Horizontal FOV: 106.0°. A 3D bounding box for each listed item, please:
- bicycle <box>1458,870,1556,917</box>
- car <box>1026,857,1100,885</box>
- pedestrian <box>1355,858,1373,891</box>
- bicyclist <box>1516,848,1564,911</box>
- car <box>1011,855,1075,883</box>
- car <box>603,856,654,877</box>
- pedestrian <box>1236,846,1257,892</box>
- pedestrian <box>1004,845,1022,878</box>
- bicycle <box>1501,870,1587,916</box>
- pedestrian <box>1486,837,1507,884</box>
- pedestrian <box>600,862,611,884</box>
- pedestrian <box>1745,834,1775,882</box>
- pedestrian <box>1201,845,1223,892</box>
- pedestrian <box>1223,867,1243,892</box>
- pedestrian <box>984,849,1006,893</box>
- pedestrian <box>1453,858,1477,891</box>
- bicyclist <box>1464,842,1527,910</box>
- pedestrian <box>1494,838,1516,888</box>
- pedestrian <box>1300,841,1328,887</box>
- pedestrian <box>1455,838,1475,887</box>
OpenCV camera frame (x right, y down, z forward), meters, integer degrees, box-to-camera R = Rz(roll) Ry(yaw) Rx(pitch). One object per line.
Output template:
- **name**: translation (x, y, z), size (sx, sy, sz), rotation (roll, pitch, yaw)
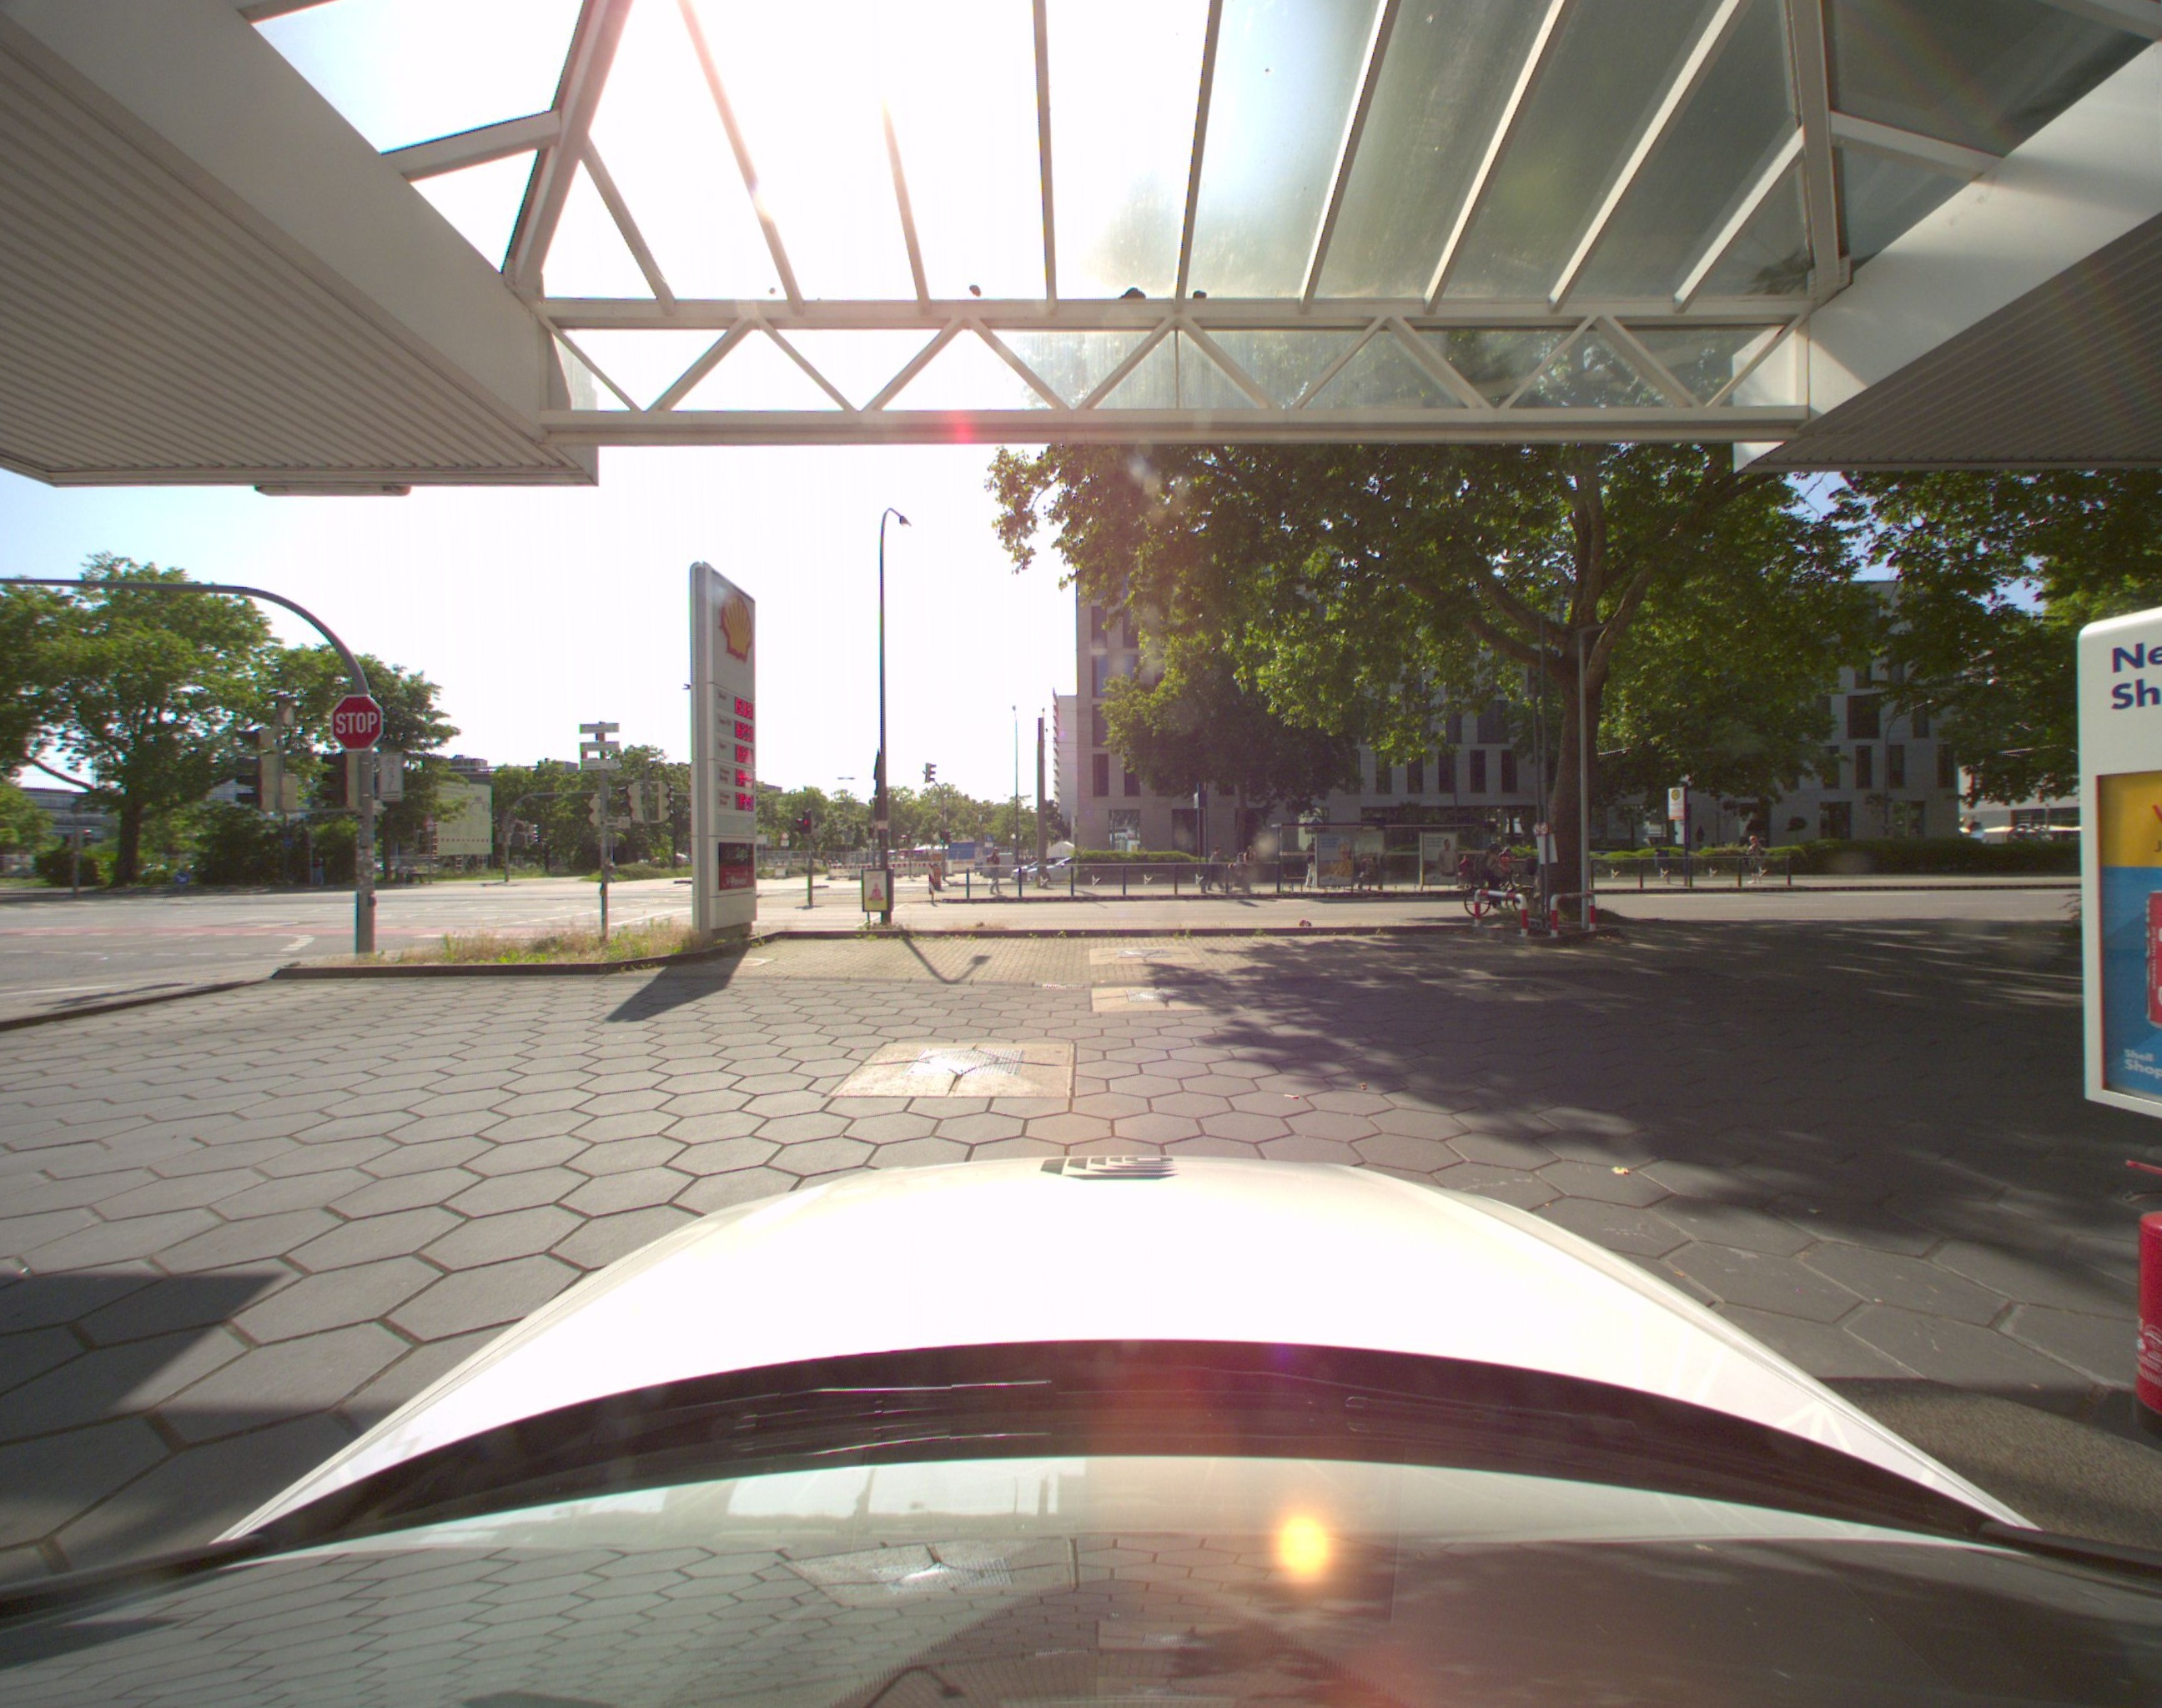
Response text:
- **bicycle**: translation (10.185, 0.930, 19.514), size (2.013, 1.082, 0.639), rotation (-1, 0, -1)
- **car**: translation (-0.886, 0.852, 41.600), size (3.669, 1.312, 1.592), rotation (-1, 0, 1)
- **pedestrian**: translation (9.947, 0.708, 28.646), size (0.496, 1.138, 0.525), rotation (-1, 0, 6)
- **bicyclist**: translation (11.439, 0.621, 20.307), size (0.860, 1.544, 0.534), rotation (0, -1, -2)
- **car**: translation (-2.283, 0.870, 48.200), size (3.676, 1.552, 1.589), rotation (-1, 0, -6)
- **car**: translation (-45.627, 1.251, 82.179), size (3.969, 1.816, 2.002), rotation (-3, 0, 4)
- **pedestrian**: translation (5.762, 0.511, 28.424), size (0.582, 1.591, 0.670), rotation (-1, 1, 0)
- **pedestrian**: translation (-4.717, 0.535, 56.823), size (1.105, 2.248, 1.103), rotation (-1, 0, 0)
- **bicycle**: translation (11.528, 0.963, 20.286), size (1.856, 1.082, 0.524), rotation (-1, 0, -1)
- **pedestrian**: translation (15.407, 0.227, 30.194), size (0.497, 1.735, 0.524), rotation (-1, 0, 3)
- **pedestrian**: translation (-32.220, 1.288, 55.174), size (0.566, 1.469, 0.509), rotation (-1, 0, -25)
- **pedestrian**: translation (25.008, 0.144, 30.020), size (0.689, 1.735, 0.505), rotation (-1, 0, 16)
- **pedestrian**: translation (4.734, 0.536, 29.491), size (0.772, 1.683, 0.504), rotation (-1, 0, 9)
- **pedestrian**: translation (5.465, 0.922, 29.378), size (0.686, 0.880, 0.504), rotation (-1, 0, 9)
- **pedestrian**: translation (-3.071, 0.609, 29.180), size (0.646, 1.540, 0.504), rotation (-1, 0, 9)
- **pedestrian**: translation (13.560, 0.733, 28.750), size (0.625, 1.138, 0.525), rotation (-1, 0, 6)
- **bicyclist**: translation (9.923, 0.517, 19.507), size (1.165, 1.580, 0.640), rotation (-1, 0, 0)
- **pedestrian**: translation (14.900, 0.303, 28.643), size (0.497, 1.735, 0.524), rotation (-1, 0, 3)
- **pedestrian**: translation (8.736, 0.368, 30.528), size (0.926, 1.683, 0.504), rotation (-1, 0, 9)
- **pedestrian**: translation (13.600, 0.297, 28.840), size (0.497, 1.735, 0.406), rotation (-1, 0, 3)
